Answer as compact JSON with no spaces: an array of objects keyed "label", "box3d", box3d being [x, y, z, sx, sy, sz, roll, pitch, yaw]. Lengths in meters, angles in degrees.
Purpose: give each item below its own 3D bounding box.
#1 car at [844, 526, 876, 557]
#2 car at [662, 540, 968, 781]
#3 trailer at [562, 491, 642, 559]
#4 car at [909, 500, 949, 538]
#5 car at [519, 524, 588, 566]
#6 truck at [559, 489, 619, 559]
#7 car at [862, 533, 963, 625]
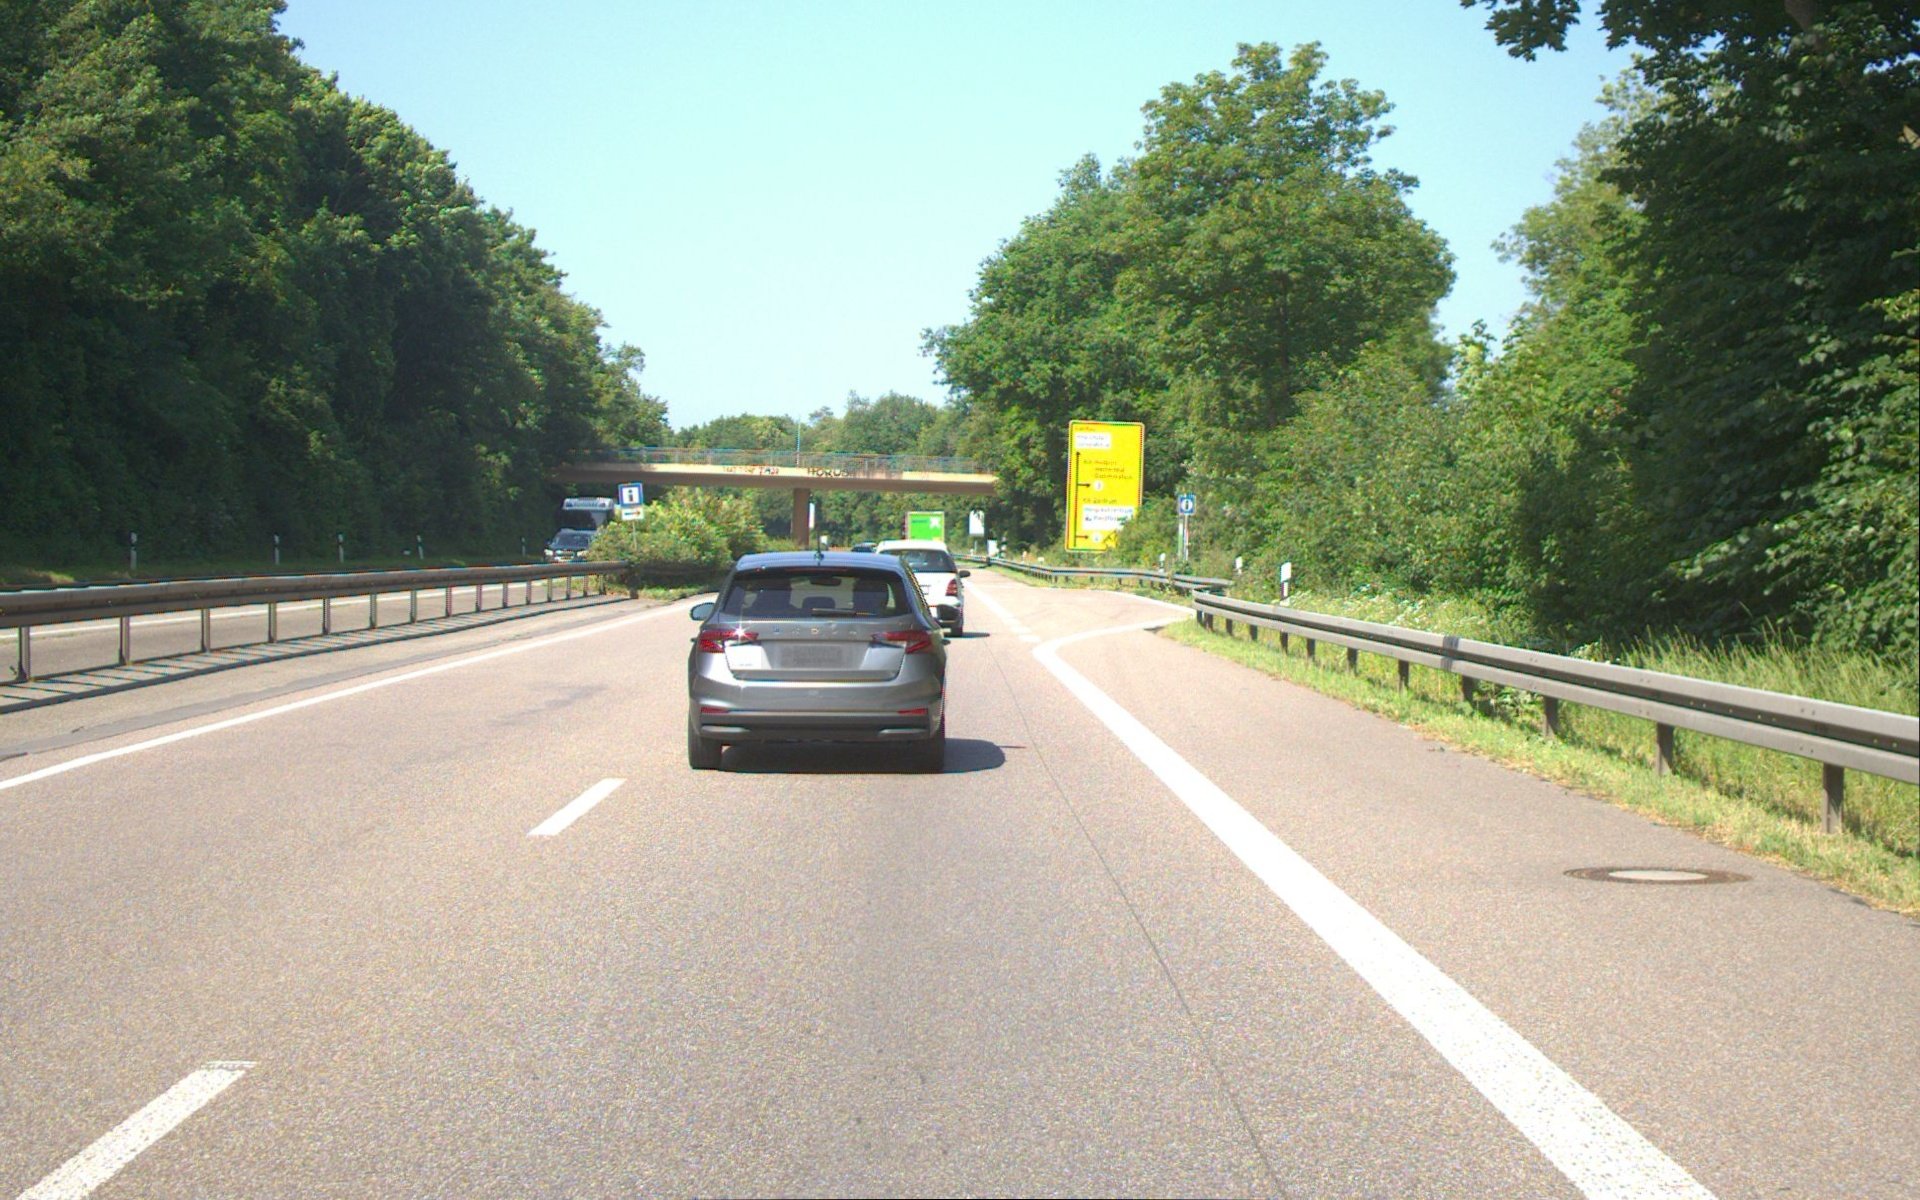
[{"label":"car","box3d":[-6.658,-3.891,229.018,1.993,2.007,4.000,1,1,0]},{"label":"car","box3d":[-0.908,0.348,23.446,1.840,1.467,3.623,1,1,1]},{"label":"trailer","box3d":[-17.766,-3.714,171.585,2.492,3.224,14.432,1,1,0]},{"label":"car","box3d":[-2.174,-5.688,241.644,2.748,2.645,4.000,1,1,0]},{"label":"car","box3d":[-15.112,-2.063,128.068,1.842,1.505,4.551,1,1,2]},{"label":"truck","box3d":[-17.739,-3.630,164.573,2.425,3.247,4.000,1,1,0]},{"label":"car","box3d":[-0.757,-0.370,56.775,1.522,1.442,3.340,1,1,1]}]
